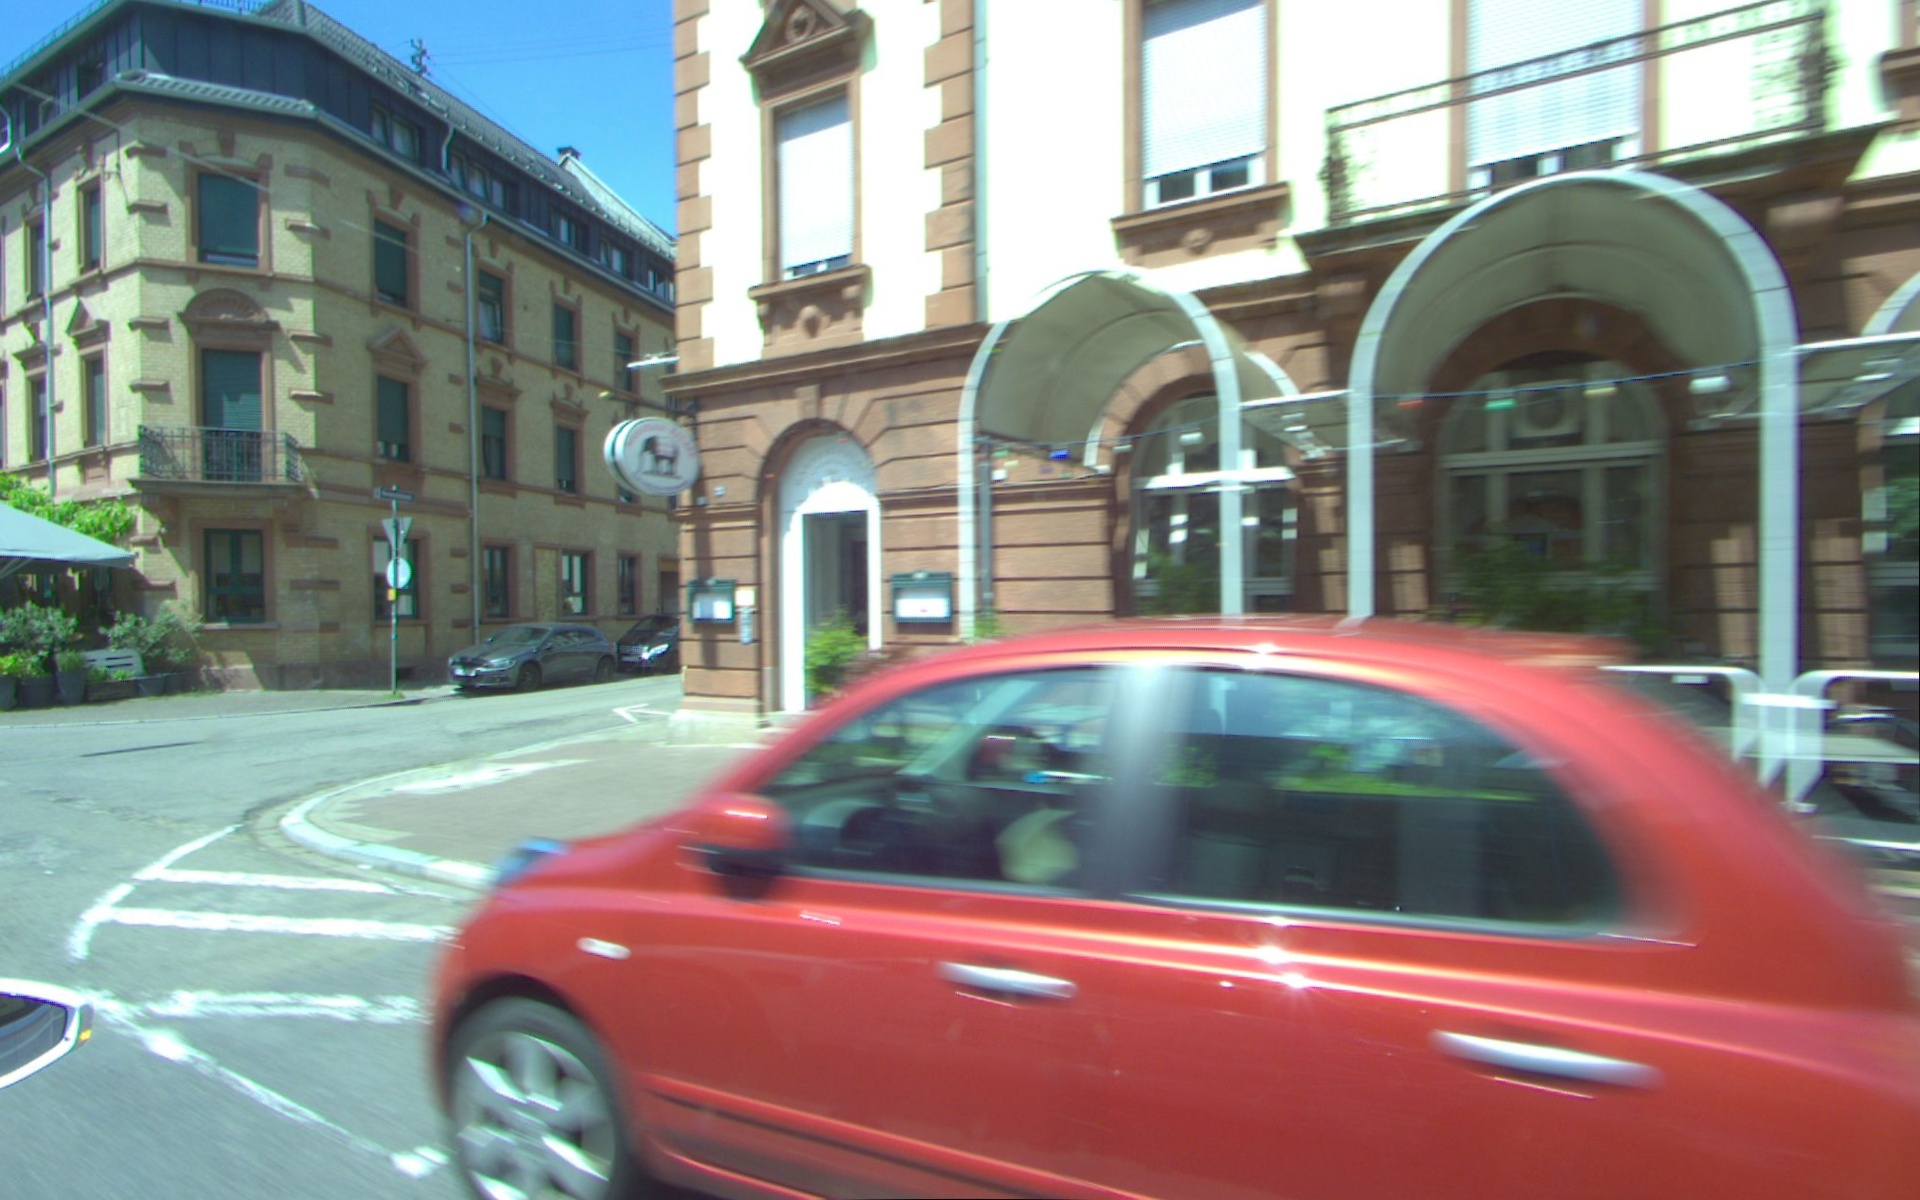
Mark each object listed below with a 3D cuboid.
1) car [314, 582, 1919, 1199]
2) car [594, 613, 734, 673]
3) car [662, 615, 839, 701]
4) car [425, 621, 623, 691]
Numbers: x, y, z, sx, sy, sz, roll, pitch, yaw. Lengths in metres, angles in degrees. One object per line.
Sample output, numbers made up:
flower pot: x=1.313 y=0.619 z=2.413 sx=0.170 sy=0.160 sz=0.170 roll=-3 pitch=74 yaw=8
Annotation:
car: x=0.297 y=0.779 z=2.687 sx=3.724 sy=1.497 sz=1.758 roll=0 pitch=-3 yaw=27
car: x=-8.202 y=1.153 z=28.161 sx=1.881 sy=1.556 sz=4.131 roll=0 pitch=-1 yaw=16
car: x=-4.067 y=1.101 z=20.113 sx=1.772 sy=1.498 sz=3.995 roll=-3 pitch=-2 yaw=16
car: x=-9.648 y=1.180 z=22.505 sx=1.882 sy=1.382 sz=3.993 roll=0 pitch=-1 yaw=19
